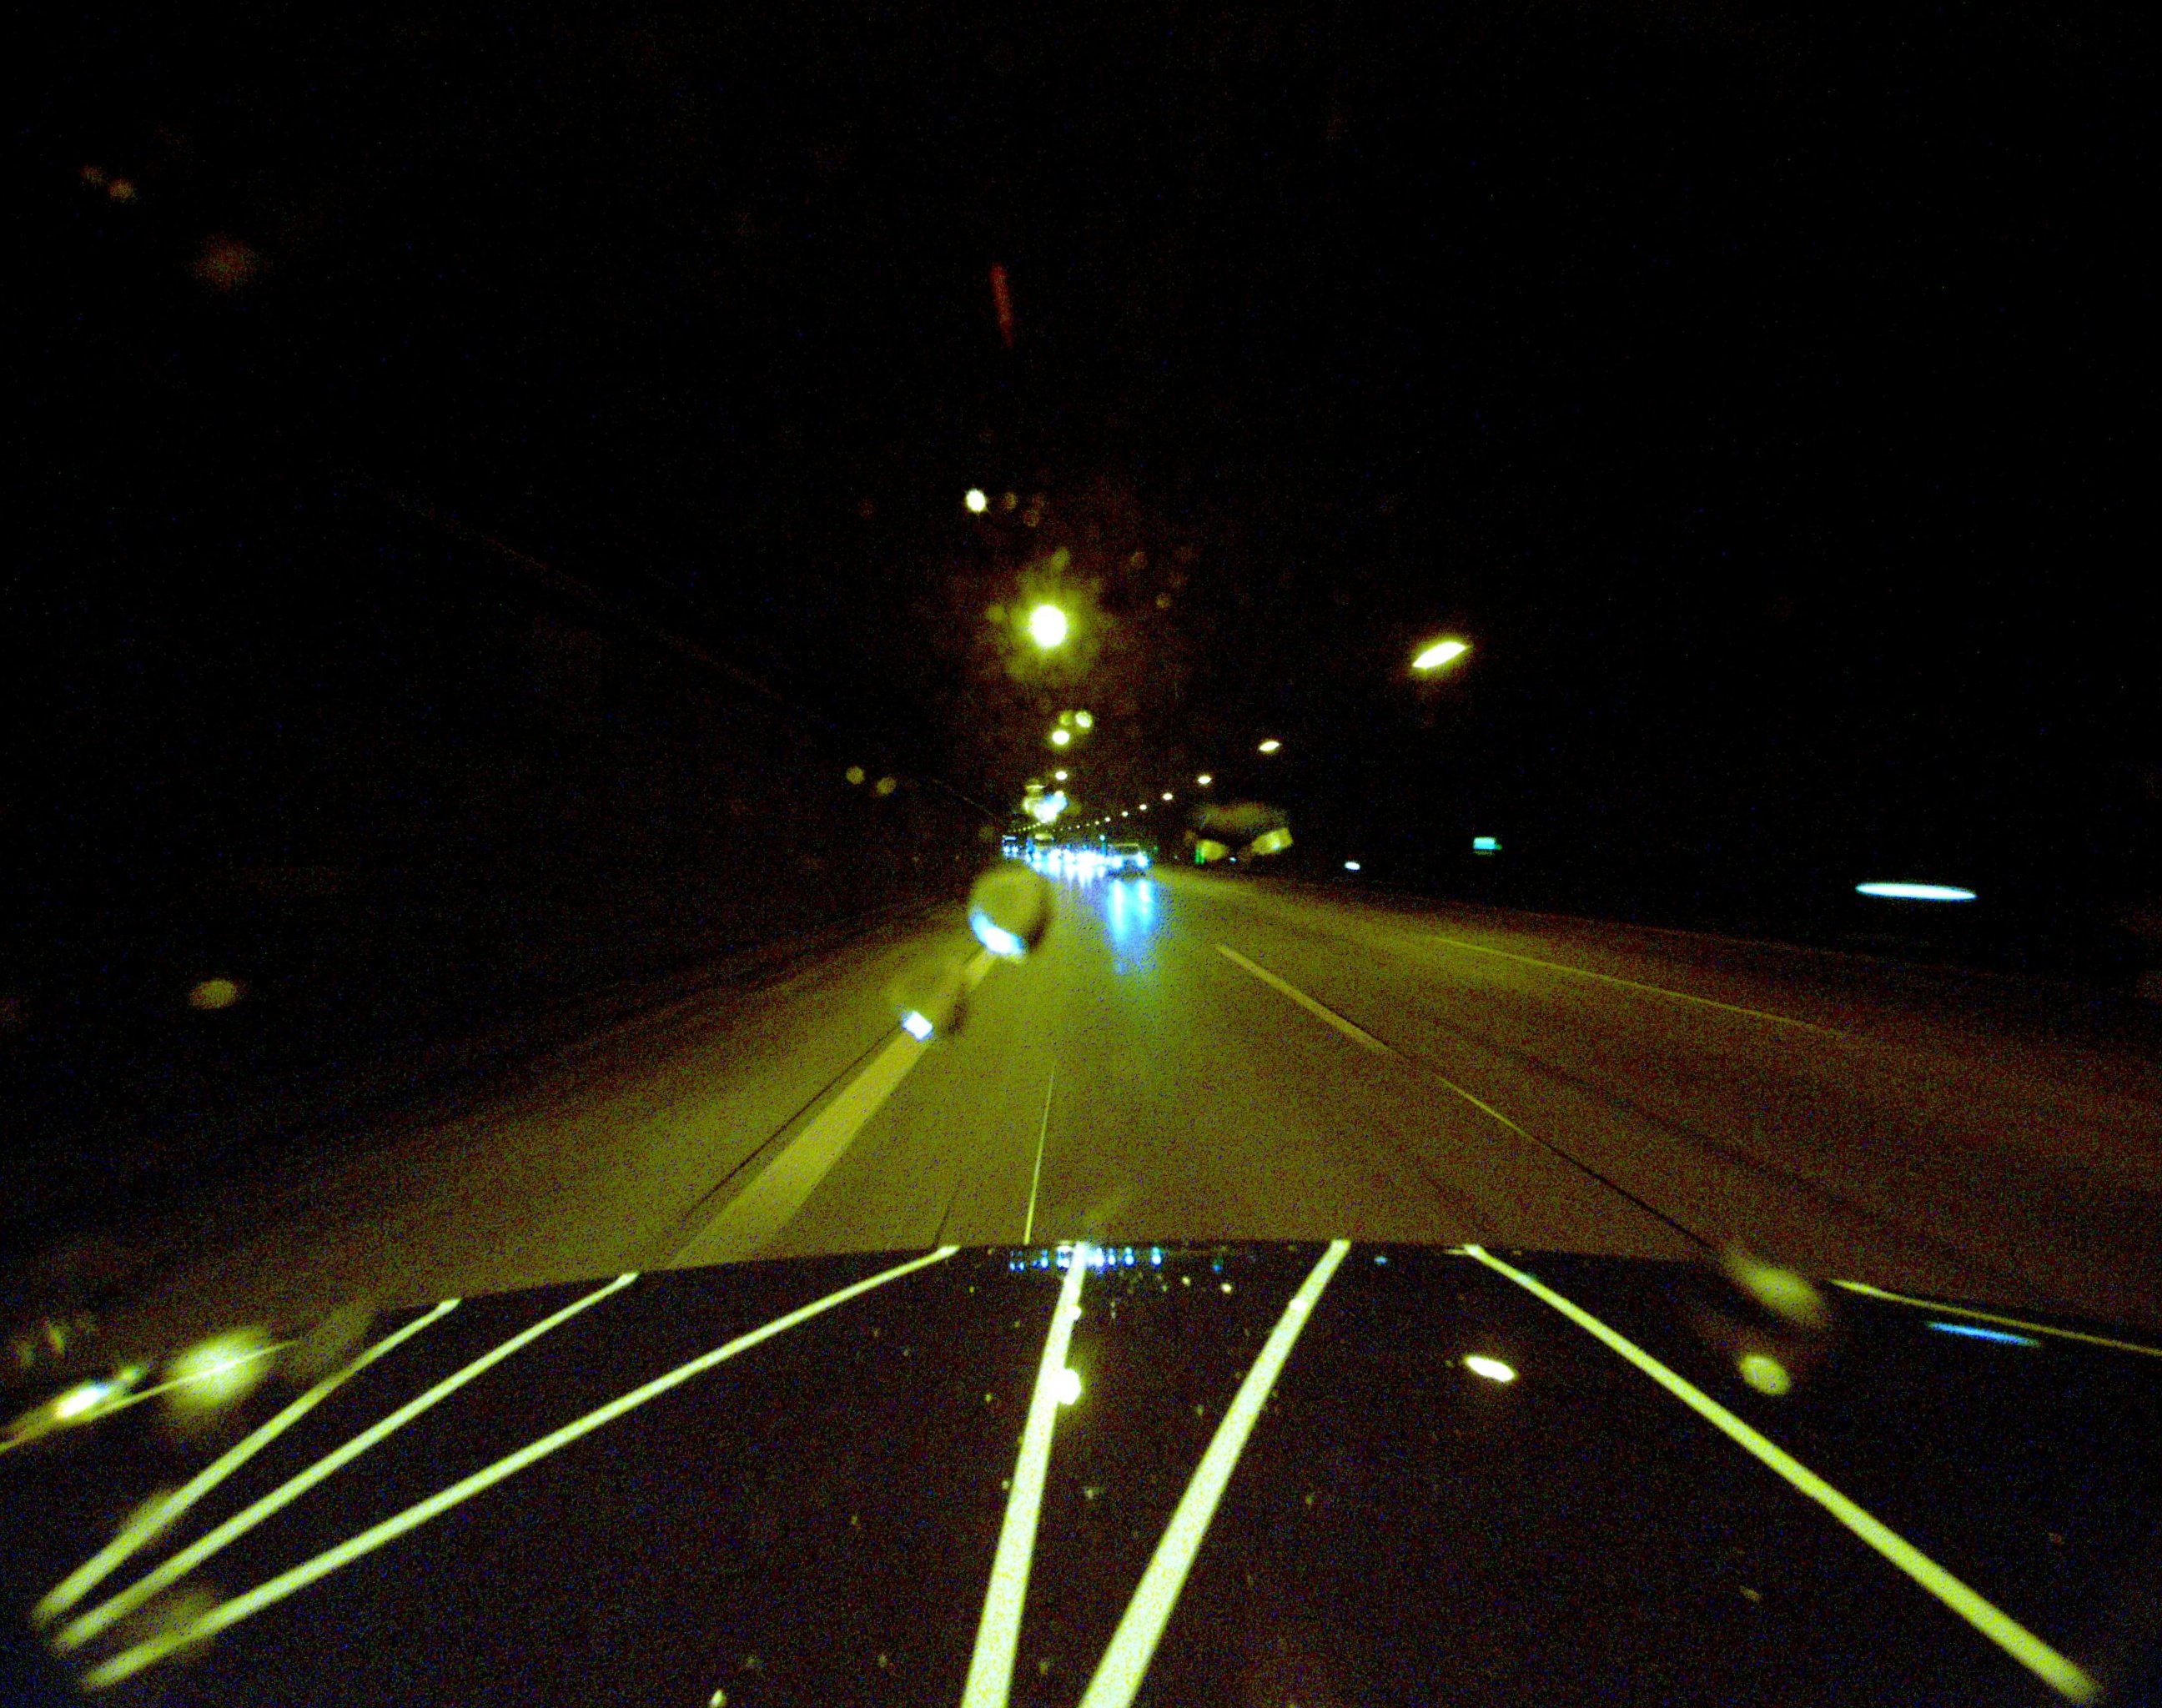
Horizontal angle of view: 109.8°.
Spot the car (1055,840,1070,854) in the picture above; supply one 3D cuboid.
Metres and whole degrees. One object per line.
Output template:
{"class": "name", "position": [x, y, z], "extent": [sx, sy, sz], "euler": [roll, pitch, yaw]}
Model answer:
{"class": "car", "position": [-2.862, -1.103, 119.797], "extent": [2.000, 2.003, 3.996], "euler": [-1, 3, -6]}

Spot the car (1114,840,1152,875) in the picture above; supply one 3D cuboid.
{"class": "car", "position": [3.150, 0.217, 46.677], "extent": [1.998, 2.002, 4.360], "euler": [-1, 0, 0]}

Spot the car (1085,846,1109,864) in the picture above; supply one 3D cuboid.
{"class": "car", "position": [1.474, 0.113, 71.715], "extent": [1.911, 1.638, 3.998], "euler": [-1, 0, -4]}

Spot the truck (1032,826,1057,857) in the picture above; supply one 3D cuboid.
{"class": "truck", "position": [-5.167, -1.756, 106.693], "extent": [3.144, 4.137, 7.381], "euler": [-1, 2, -6]}

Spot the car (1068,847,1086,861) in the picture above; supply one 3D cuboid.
{"class": "car", "position": [-0.524, -0.001, 88.842], "extent": [1.759, 1.567, 3.998], "euler": [-1, 0, -5]}
